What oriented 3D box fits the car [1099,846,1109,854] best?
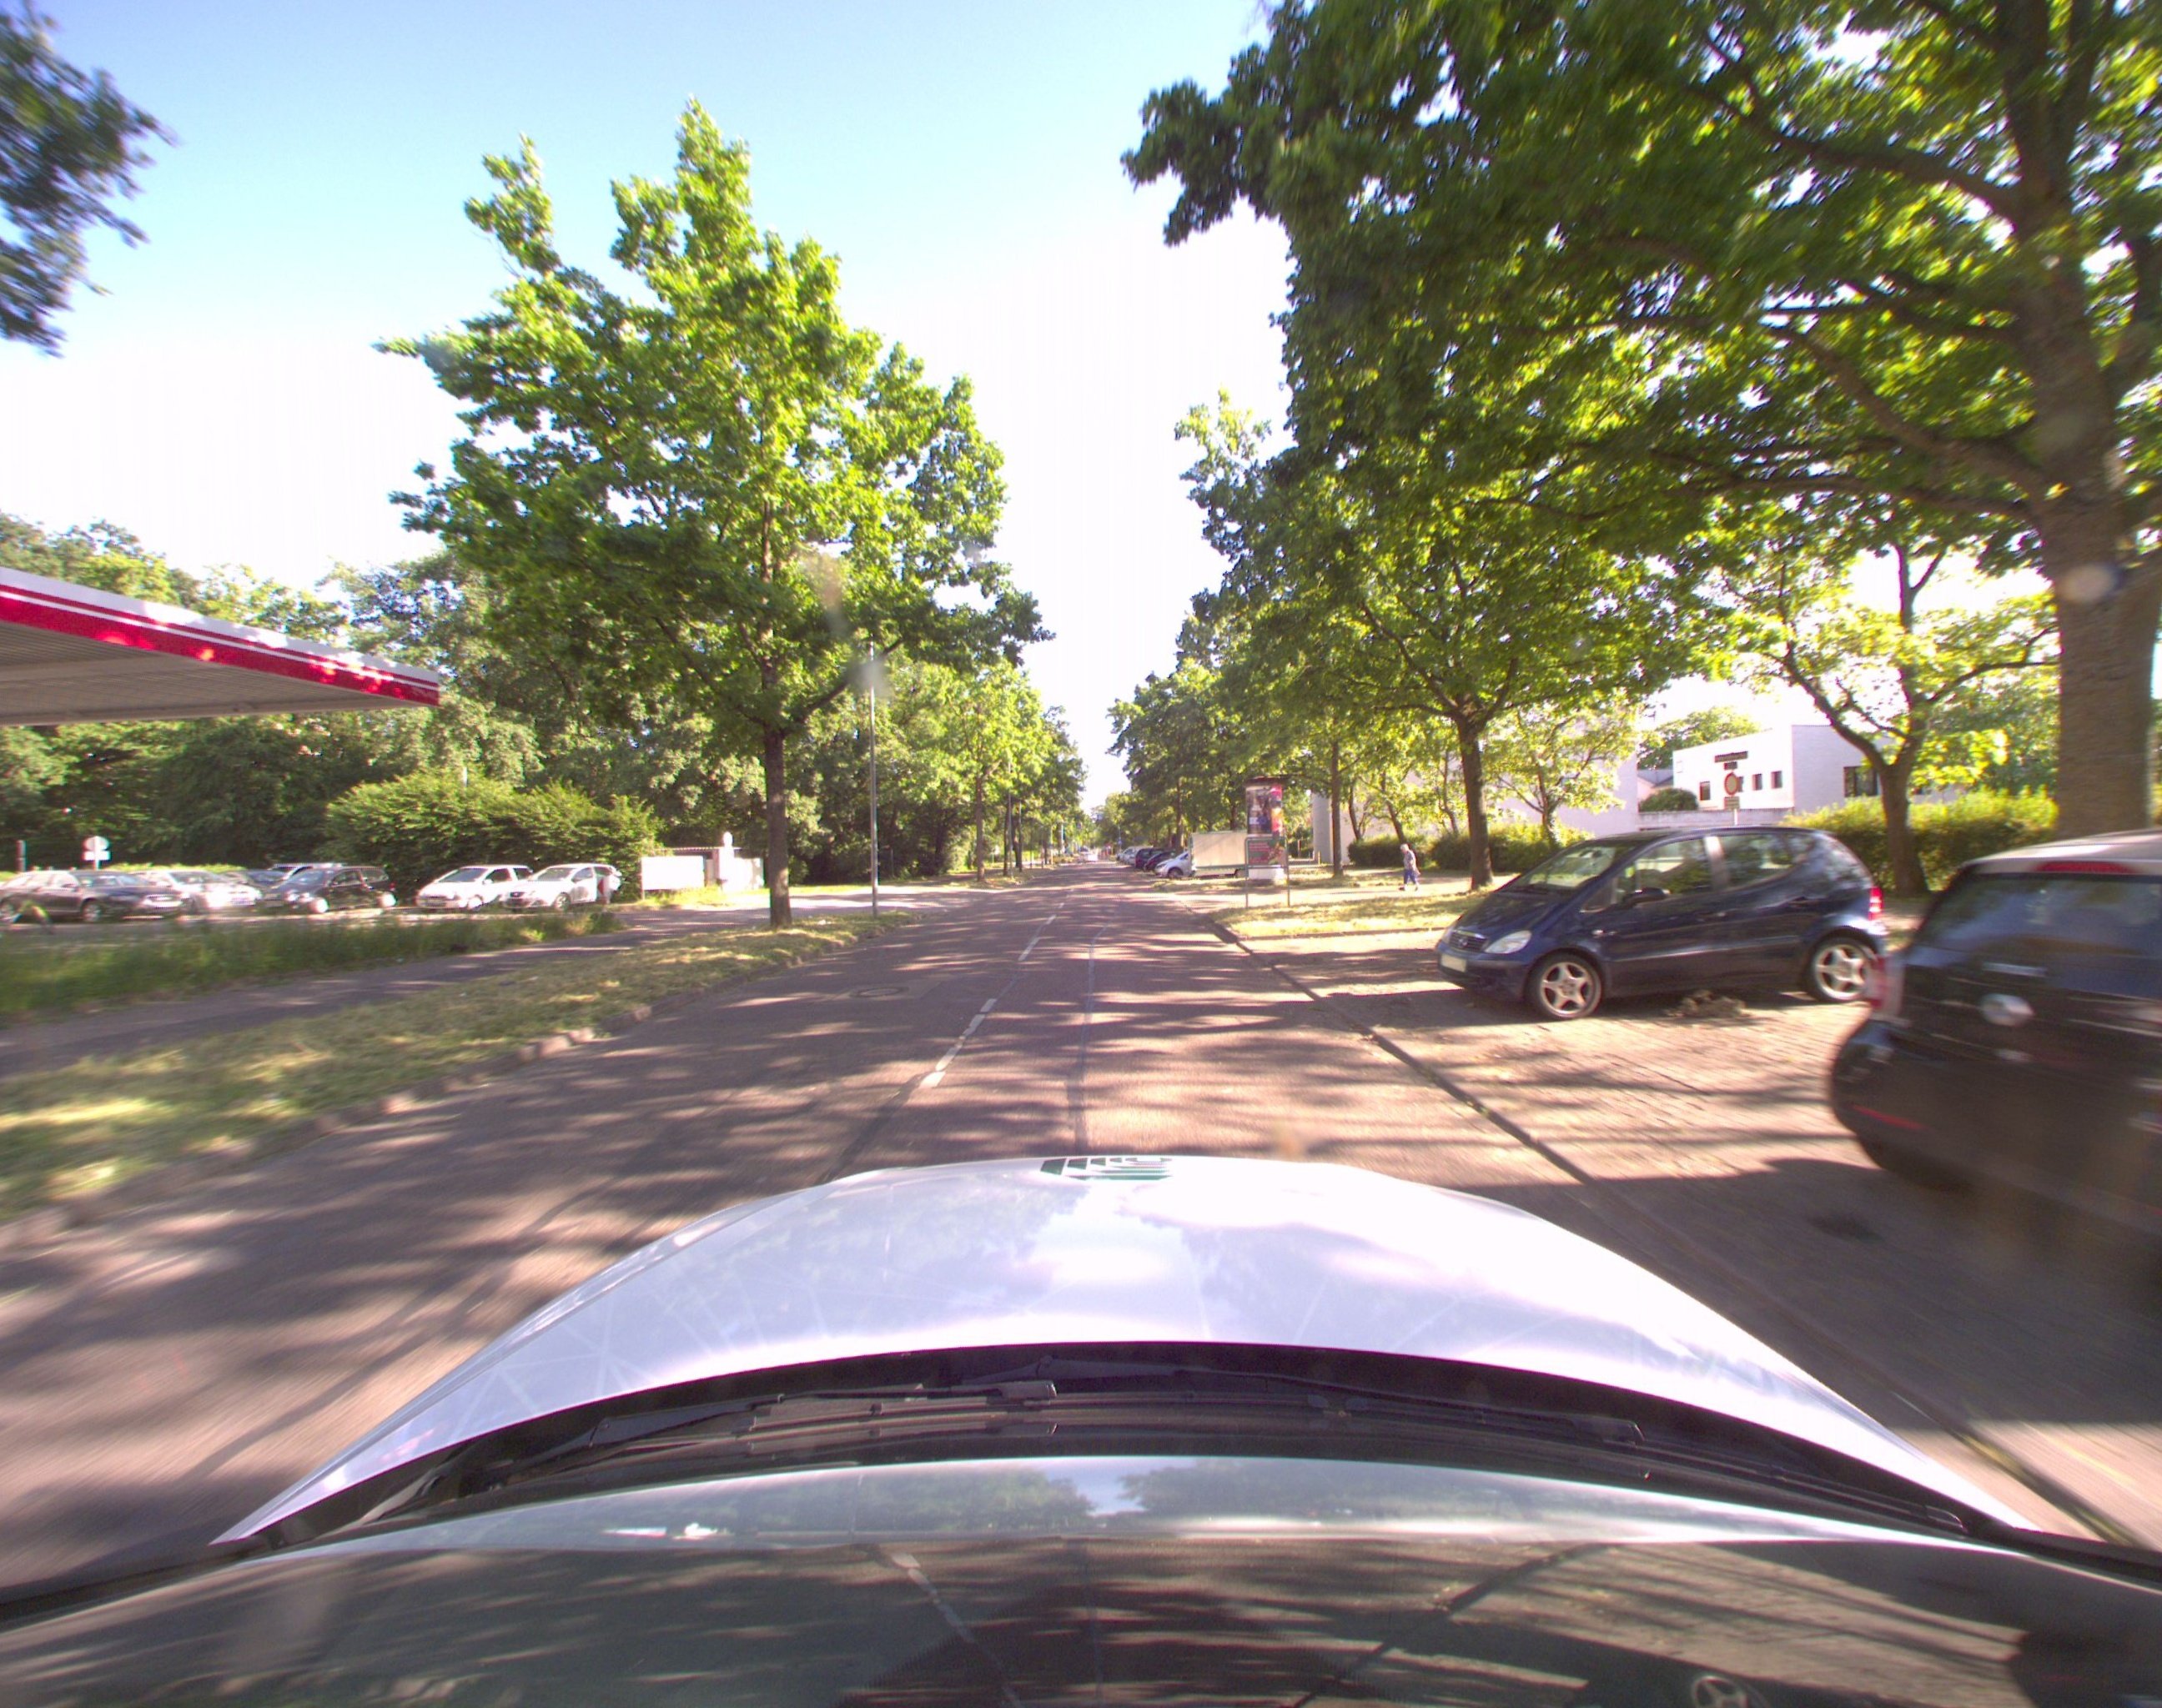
[{"bbox_3d":[5.199,-0.931,184.096,1.987,1.716,4.000,-1,0,0],"label":"car"}]

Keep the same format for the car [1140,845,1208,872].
[{"bbox_3d":[6.027,0.255,53.253,4.229,1.519,2.079,-3,0,2],"label":"car"}]

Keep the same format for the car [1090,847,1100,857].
[{"bbox_3d":[2.827,-0.420,163.379,1.987,1.933,4.000,-1,0,0],"label":"car"}]

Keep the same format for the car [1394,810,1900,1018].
[{"bbox_3d":[5.208,0.509,7.900,3.572,1.576,1.857,-3,0,0],"label":"car"}]

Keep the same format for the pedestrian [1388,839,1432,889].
[{"bbox_3d":[10.483,0.318,25.929,0.948,1.500,0.875,-3,1,-39],"label":"pedestrian"}]

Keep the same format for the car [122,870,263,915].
[{"bbox_3d":[-27.857,1.189,25.573,3.176,1.317,1.463,0,0,8],"label":"car"}]

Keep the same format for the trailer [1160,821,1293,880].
[{"bbox_3d":[6.612,-0.156,37.528,5.751,2.317,1.687,-4,0,2],"label":"trailer"}]

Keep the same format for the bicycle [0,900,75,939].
[{"bbox_3d":[-24.166,1.492,18.340,0.613,0.807,1.787,-2,0,16],"label":"bicycle"}]

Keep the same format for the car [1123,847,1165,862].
[{"bbox_3d":[6.864,0.074,89.386,4.430,1.390,1.911,-3,0,0],"label":"car"}]

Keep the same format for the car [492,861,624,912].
[{"bbox_3d":[-16.379,0.980,25.715,1.537,1.422,3.496,0,1,9],"label":"car"}]

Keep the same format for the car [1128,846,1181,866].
[{"bbox_3d":[6.645,0.171,74.187,4.654,1.580,1.917,-3,0,1],"label":"car"}]

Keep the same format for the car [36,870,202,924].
[{"bbox_3d":[-27.230,1.179,23.092,3.176,1.400,1.589,0,0,8],"label":"car"}]

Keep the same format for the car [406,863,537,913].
[{"bbox_3d":[-19.016,1.016,25.574,1.414,1.367,3.213,0,1,9],"label":"car"}]

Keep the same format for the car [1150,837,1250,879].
[{"bbox_3d":[5.830,0.185,40.368,4.625,1.722,1.988,-3,0,1],"label":"car"}]

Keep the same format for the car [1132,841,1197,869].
[{"bbox_3d":[6.086,0.080,59.900,4.514,1.801,1.936,-3,0,1],"label":"car"}]

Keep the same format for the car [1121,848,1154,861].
[{"bbox_3d":[6.924,0.020,99.528,3.971,1.433,1.902,-2,0,2],"label":"car"}]

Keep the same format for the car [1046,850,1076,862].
[{"bbox_3d":[-2.923,0.304,120.926,3.948,1.655,2.013,-2,0,35],"label":"car"}]

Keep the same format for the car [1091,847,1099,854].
[{"bbox_3d":[3.730,-0.930,213.683,1.987,1.968,4.000,-1,0,0],"label":"car"}]

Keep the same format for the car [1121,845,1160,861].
[{"bbox_3d":[7.074,-0.145,96.991,4.372,1.651,1.850,-4,0,-1],"label":"car"}]

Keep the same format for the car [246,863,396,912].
[{"bbox_3d":[-23.575,0.990,25.402,1.414,1.367,3.213,0,1,9],"label":"car"}]

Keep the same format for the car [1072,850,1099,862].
[{"bbox_3d":[0.661,0.299,113.436,2.006,1.484,3.961,-2,0,-30],"label":"car"}]

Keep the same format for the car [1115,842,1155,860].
[{"bbox_3d":[7.094,-0.389,107.303,5.172,2.105,2.082,-2,0,-1],"label":"car"}]

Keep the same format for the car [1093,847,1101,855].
[{"bbox_3d":[3.864,-0.740,199.862,1.987,1.716,4.000,-1,0,0],"label":"car"}]

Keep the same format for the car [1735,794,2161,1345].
[{"bbox_3d":[4.879,0.520,2.905,3.569,1.576,1.787,-3,0,2],"label":"car"}]
